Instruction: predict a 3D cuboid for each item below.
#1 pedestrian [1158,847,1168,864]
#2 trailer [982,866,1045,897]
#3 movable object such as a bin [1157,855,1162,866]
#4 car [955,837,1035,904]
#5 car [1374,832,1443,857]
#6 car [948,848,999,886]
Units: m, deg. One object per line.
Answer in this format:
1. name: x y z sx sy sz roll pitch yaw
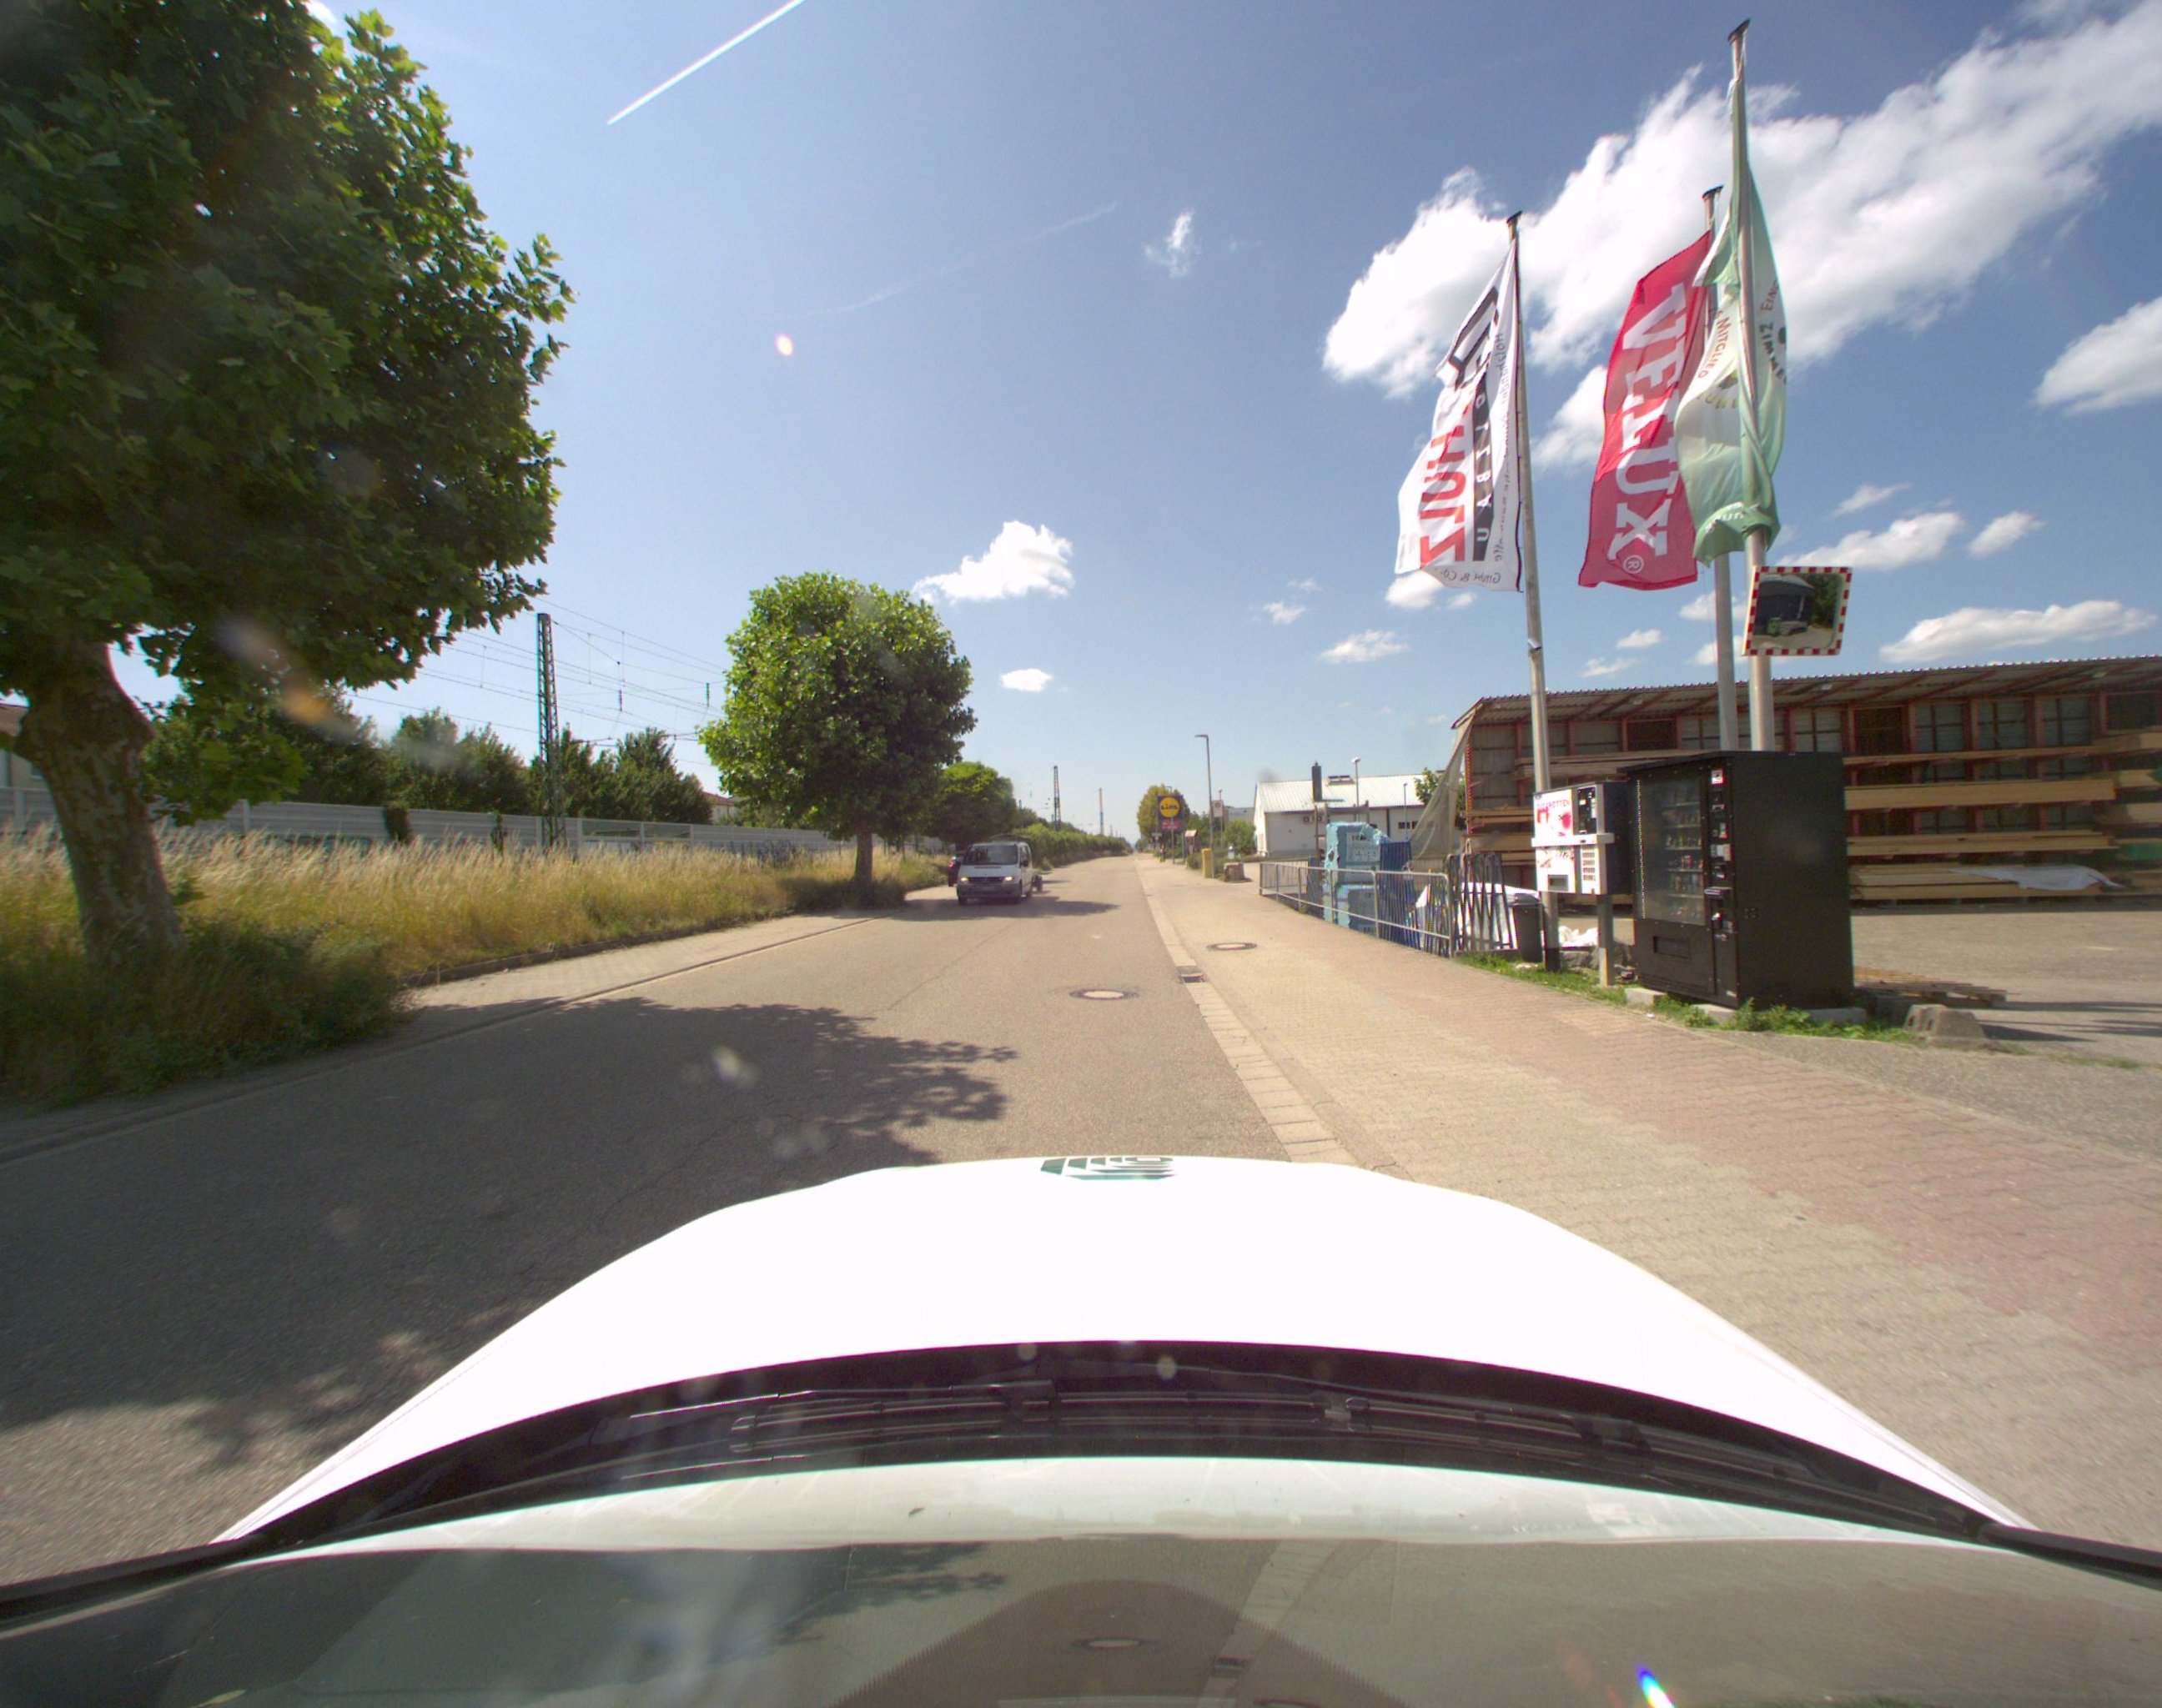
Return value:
1. pedestrian: 7.796 0.135 77.267 0.759 1.601 1.210 -2 0 0
2. trailer: -2.397 0.963 29.922 1.812 0.850 4.224 -3 1 1
3. movable object such as a bin: 7.429 0.607 76.782 0.373 1.029 0.499 -3 0 -1
4. car: -2.583 0.467 25.516 1.831 1.858 4.486 -1 0 2
5. car: 21.864 -0.648 54.555 3.961 1.494 2.006 -2 0 11
6. car: -4.808 0.550 36.790 1.735 1.596 3.580 -1 0 1
